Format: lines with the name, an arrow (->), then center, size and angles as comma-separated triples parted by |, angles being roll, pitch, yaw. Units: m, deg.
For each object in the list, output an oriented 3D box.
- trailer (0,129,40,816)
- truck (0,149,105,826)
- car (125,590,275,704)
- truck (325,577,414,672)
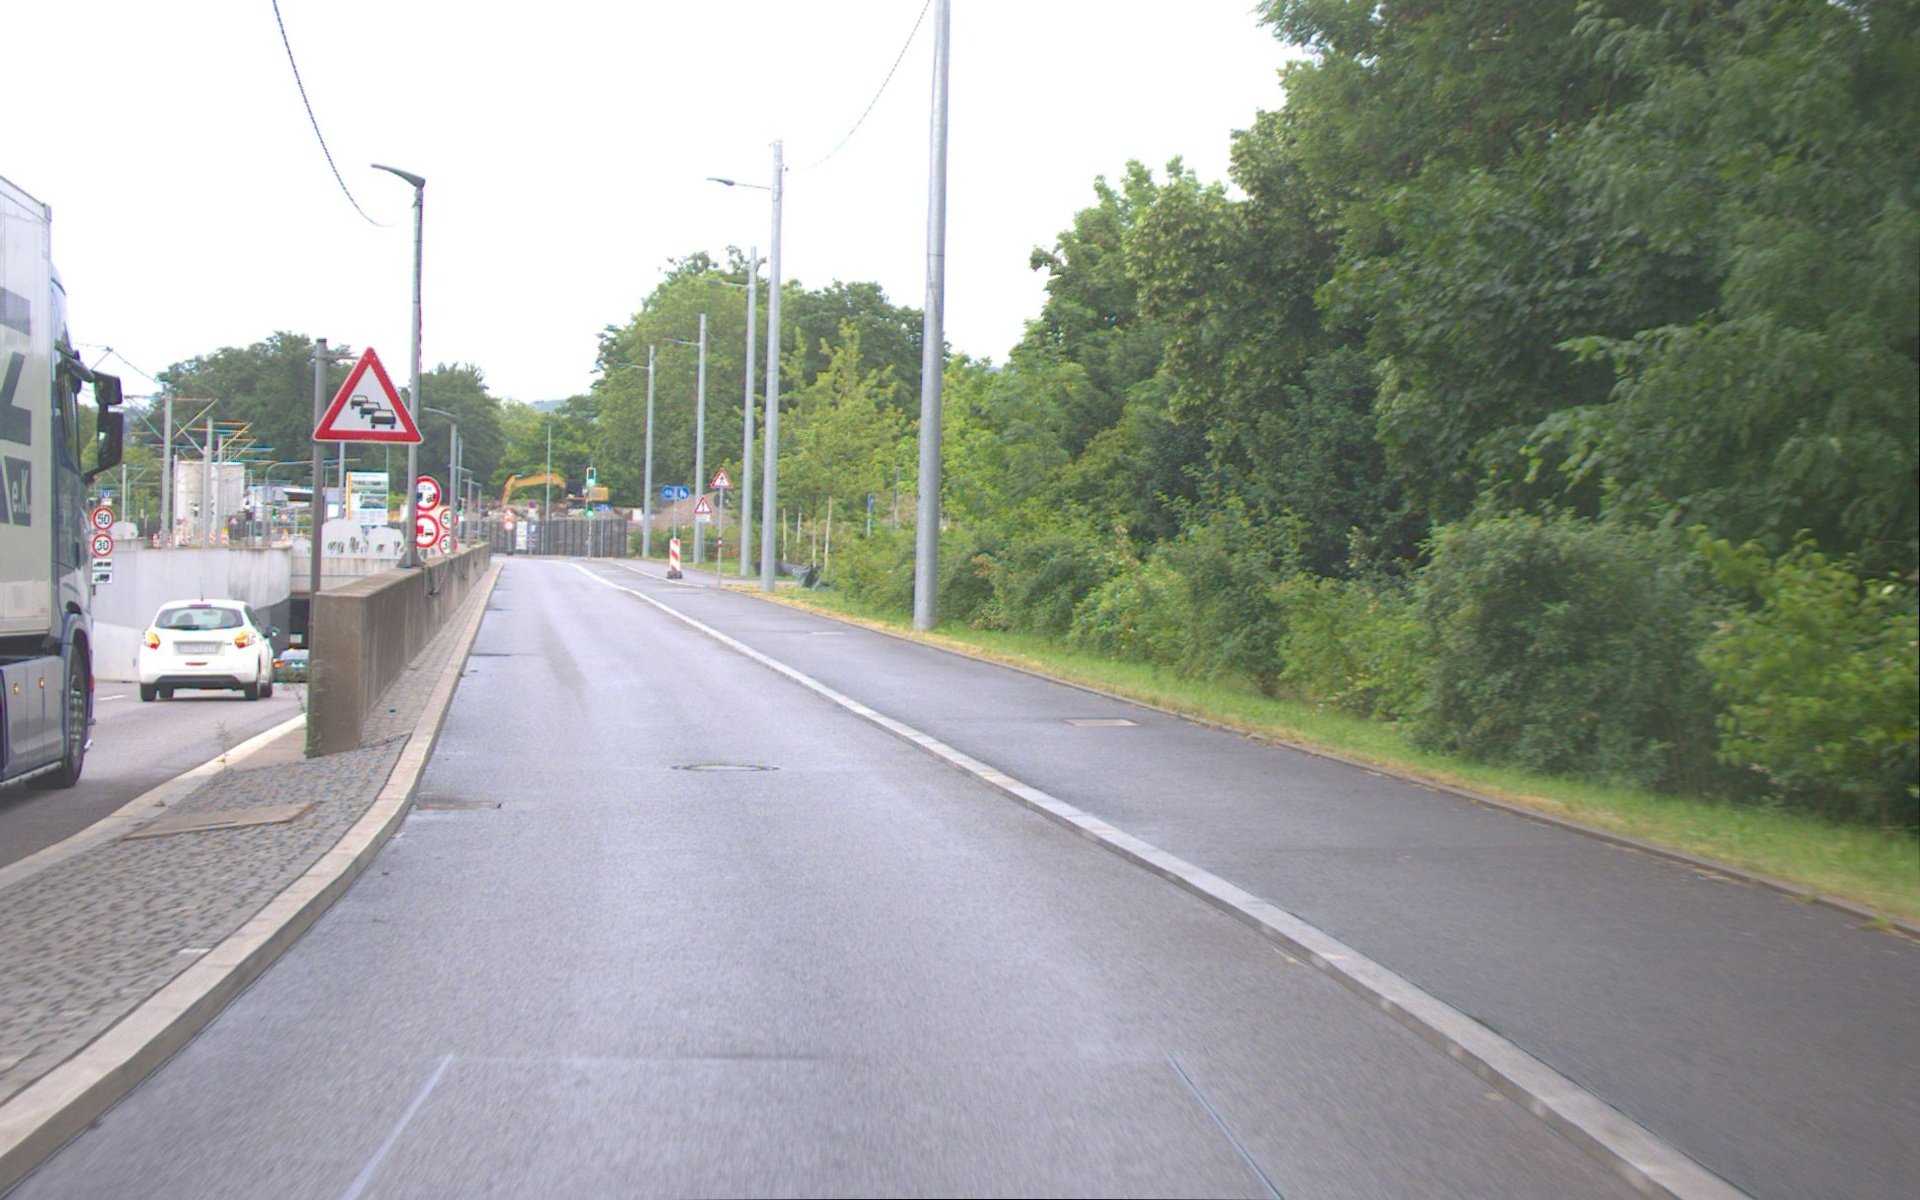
trailer -> -6.798, -0.669, 15.850 | 2.762, 4.238, 13.186 | 0, 1, -5
truck -> -7.429, -0.721, 22.287 | 2.755, 4.190, 6.308 | 0, 1, -6
car -> -11.164, 0.665, 50.678 | 1.809, 1.419, 4.001 | 0, 3, -7
truck -> -26.143, 1.021, 152.457 | 3.517, 4.026, 8.076 | 0, 1, -7
